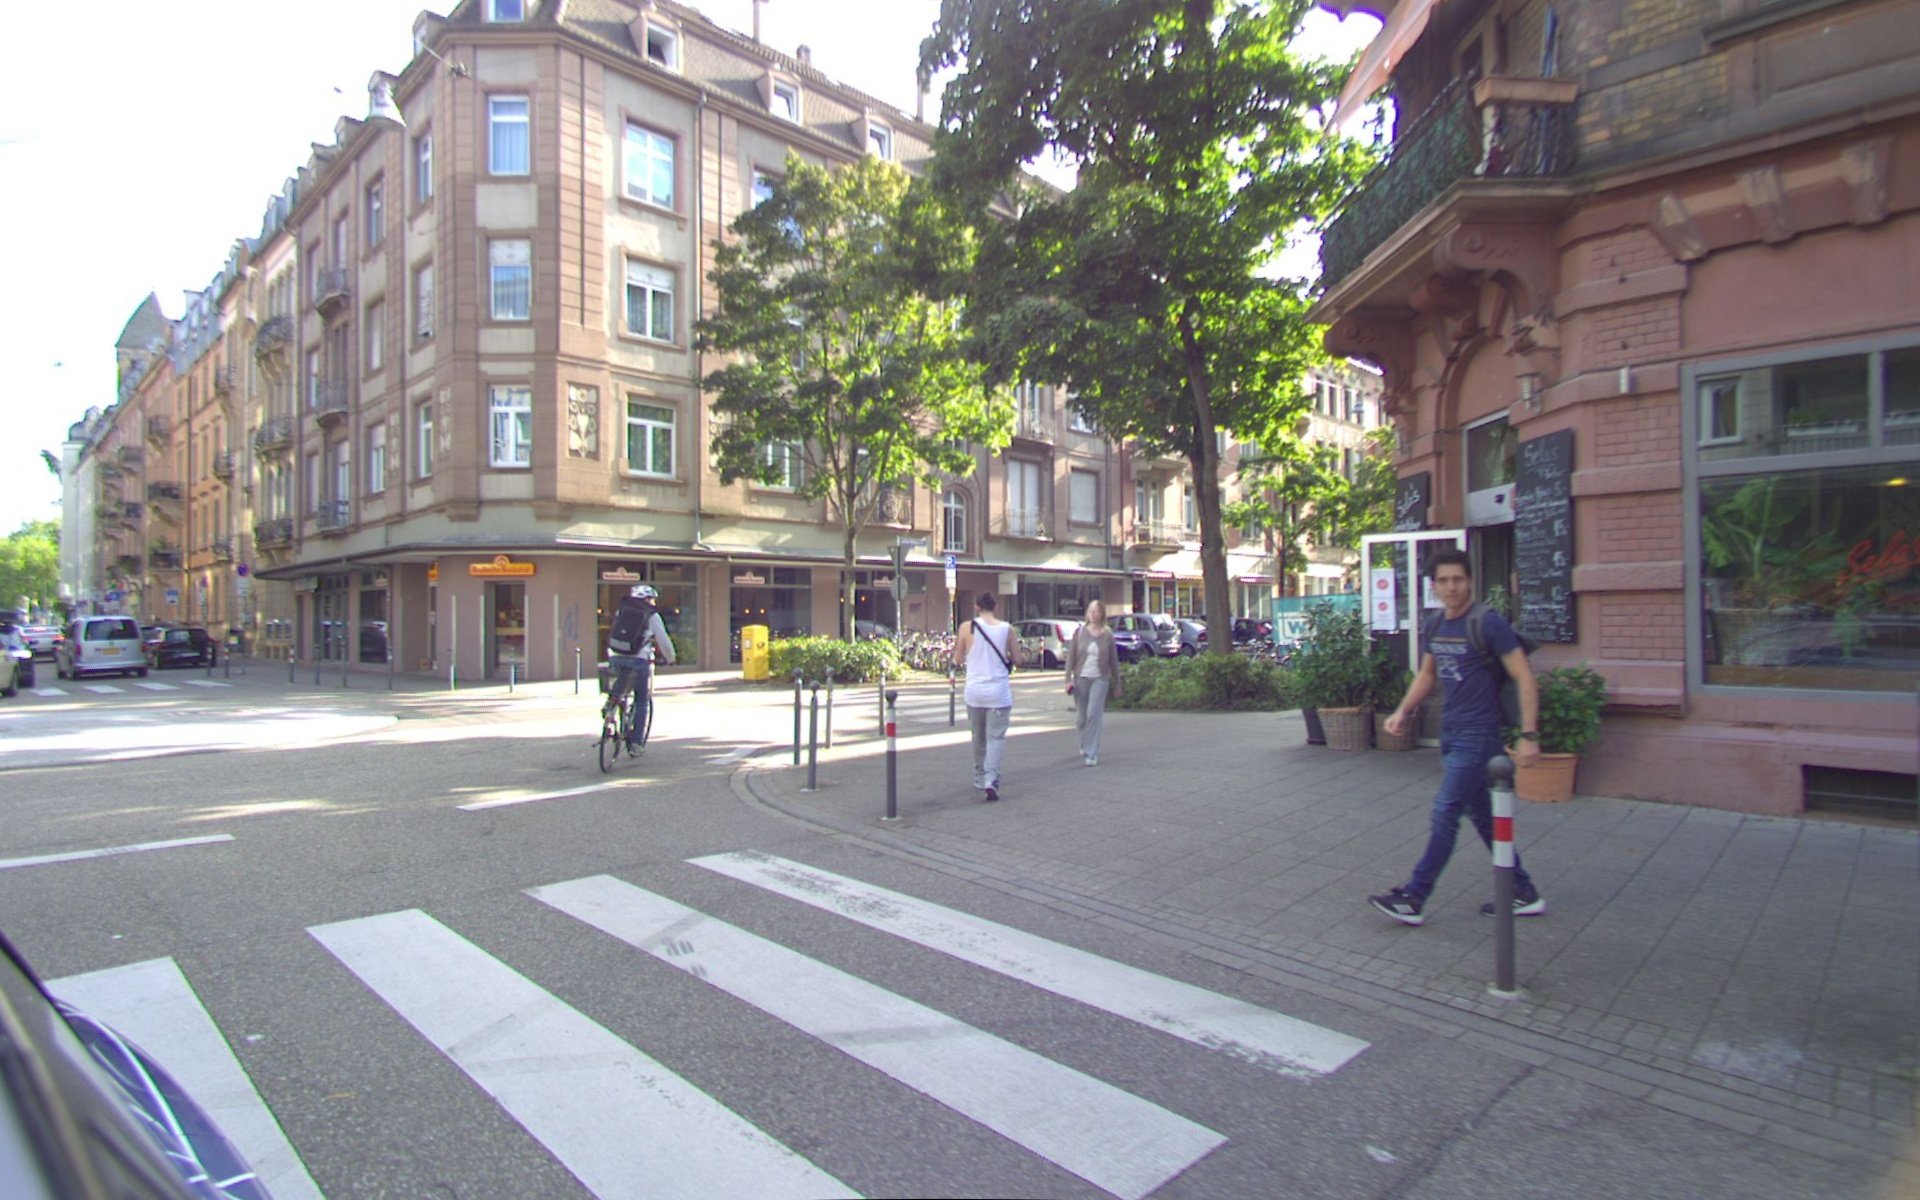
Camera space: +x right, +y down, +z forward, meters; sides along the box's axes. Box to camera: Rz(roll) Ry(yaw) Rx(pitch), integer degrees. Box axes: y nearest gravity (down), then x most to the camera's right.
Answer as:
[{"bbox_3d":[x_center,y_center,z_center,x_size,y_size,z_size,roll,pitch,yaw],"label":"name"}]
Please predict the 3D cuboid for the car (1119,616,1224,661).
[{"bbox_3d":[7.297,1.334,35.030,1.356,1.454,3.341,-1,-1,-44],"label":"car"}]

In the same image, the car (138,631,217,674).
[{"bbox_3d":[-27.415,1.805,35.430,1.699,1.379,3.831,-1,-1,-45],"label":"car"}]

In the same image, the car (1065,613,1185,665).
[{"bbox_3d":[5.442,1.277,33.598,1.554,1.608,3.701,-1,-1,-44],"label":"car"}]

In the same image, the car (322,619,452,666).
[{"bbox_3d":[-22.372,1.619,39.617,1.996,1.633,3.952,-2,-1,36],"label":"car"}]

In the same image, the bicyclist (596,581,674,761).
[{"bbox_3d":[-3.254,0.689,10.161,0.691,1.690,1.116,0,-2,-17],"label":"bicyclist"}]

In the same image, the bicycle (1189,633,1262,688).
[{"bbox_3d":[5.458,1.219,20.735,0.591,1.038,2.114,-4,-3,38],"label":"bicycle"}]

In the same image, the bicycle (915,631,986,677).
[{"bbox_3d":[-0.227,1.392,26.437,0.478,1.143,2.232,-2,-2,42],"label":"bicycle"}]

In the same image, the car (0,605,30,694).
[{"bbox_3d":[-24.017,1.207,24.810,1.766,2.079,4.004,1,-2,-42],"label":"car"}]

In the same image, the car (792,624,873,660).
[{"bbox_3d":[-6.131,2.002,48.870,3.579,1.578,1.580,-1,-1,-44],"label":"car"}]

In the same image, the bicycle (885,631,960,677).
[{"bbox_3d":[-0.967,1.417,26.993,0.478,1.143,2.398,-2,-2,42],"label":"bicycle"}]

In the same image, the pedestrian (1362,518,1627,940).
[{"bbox_3d":[2.506,0.579,4.839,0.847,1.854,0.678,-2,0,5],"label":"pedestrian"}]

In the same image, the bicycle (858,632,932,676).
[{"bbox_3d":[-1.752,1.461,27.702,0.478,1.143,2.398,-2,-2,42],"label":"bicycle"}]

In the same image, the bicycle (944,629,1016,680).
[{"bbox_3d":[0.537,1.371,25.751,0.478,1.234,2.262,-2,-2,42],"label":"bicycle"}]

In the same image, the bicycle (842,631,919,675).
[{"bbox_3d":[-2.180,1.458,28.087,0.579,1.143,2.398,-2,-2,42],"label":"bicycle"}]

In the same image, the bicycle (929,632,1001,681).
[{"bbox_3d":[0.161,1.433,26.088,0.478,1.166,2.260,-2,-2,42],"label":"bicycle"}]

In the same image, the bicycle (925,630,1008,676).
[{"bbox_3d":[0.201,1.403,27.193,2.476,1.110,0.651,-1,-2,-45],"label":"bicycle"}]

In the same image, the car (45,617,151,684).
[{"bbox_3d":[-25.612,1.492,30.030,4.329,1.804,1.810,-3,-1,42],"label":"car"}]

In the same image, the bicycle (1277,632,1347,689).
[{"bbox_3d":[6.862,1.158,19.669,0.591,1.019,2.050,-4,-3,39],"label":"bicycle"}]

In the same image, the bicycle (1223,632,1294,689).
[{"bbox_3d":[6.018,1.197,20.323,0.591,1.038,2.050,-4,-3,39],"label":"bicycle"}]

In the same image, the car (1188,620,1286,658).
[{"bbox_3d":[10.431,1.474,38.189,1.356,1.342,3.341,3,-3,-44],"label":"car"}]

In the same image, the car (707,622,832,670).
[{"bbox_3d":[-6.309,1.512,33.402,3.991,1.441,1.745,-2,-1,35],"label":"car"}]

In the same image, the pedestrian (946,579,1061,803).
[{"bbox_3d":[0.325,0.690,8.152,0.792,1.683,1.023,0,-1,-5],"label":"pedestrian"}]

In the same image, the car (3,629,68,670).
[{"bbox_3d":[-40.148,2.118,43.907,1.970,1.647,4.847,1,-2,-44],"label":"car"}]

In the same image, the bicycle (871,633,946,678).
[{"bbox_3d":[-1.356,1.464,27.338,0.478,1.143,2.398,-2,-2,42],"label":"bicycle"}]

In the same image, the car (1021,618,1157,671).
[{"bbox_3d":[3.956,1.364,31.535,1.554,1.487,4.077,-1,-1,-44],"label":"car"}]

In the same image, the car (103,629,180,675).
[{"bbox_3d":[-31.478,1.933,38.872,1.835,1.596,4.401,-1,0,-45],"label":"car"}]

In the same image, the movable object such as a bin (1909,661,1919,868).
[{"bbox_3d":[3.484,0.575,3.335,0.475,0.719,0.379,-2,-1,40],"label":"movable object such as a bin"}]

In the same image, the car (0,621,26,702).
[{"bbox_3d":[-19.914,1.267,19.555,1.912,1.609,4.849,-2,0,-33],"label":"car"}]

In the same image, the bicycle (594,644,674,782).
[{"bbox_3d":[-3.291,1.069,10.276,0.691,1.229,2.123,0,-2,-17],"label":"bicycle"}]

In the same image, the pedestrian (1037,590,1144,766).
[{"bbox_3d":[1.255,0.732,9.695,0.614,1.590,0.800,-6,-4,37],"label":"pedestrian"}]

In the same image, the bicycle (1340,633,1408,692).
[{"bbox_3d":[7.797,1.160,19.024,0.591,1.019,2.050,-4,-3,39],"label":"bicycle"}]

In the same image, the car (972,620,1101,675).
[{"bbox_3d":[2.212,1.383,30.110,1.554,1.487,3.701,-1,-1,-44],"label":"car"}]

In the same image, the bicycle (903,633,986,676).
[{"bbox_3d":[-0.393,1.472,27.752,0.709,1.110,2.477,-3,-3,44],"label":"bicycle"}]
